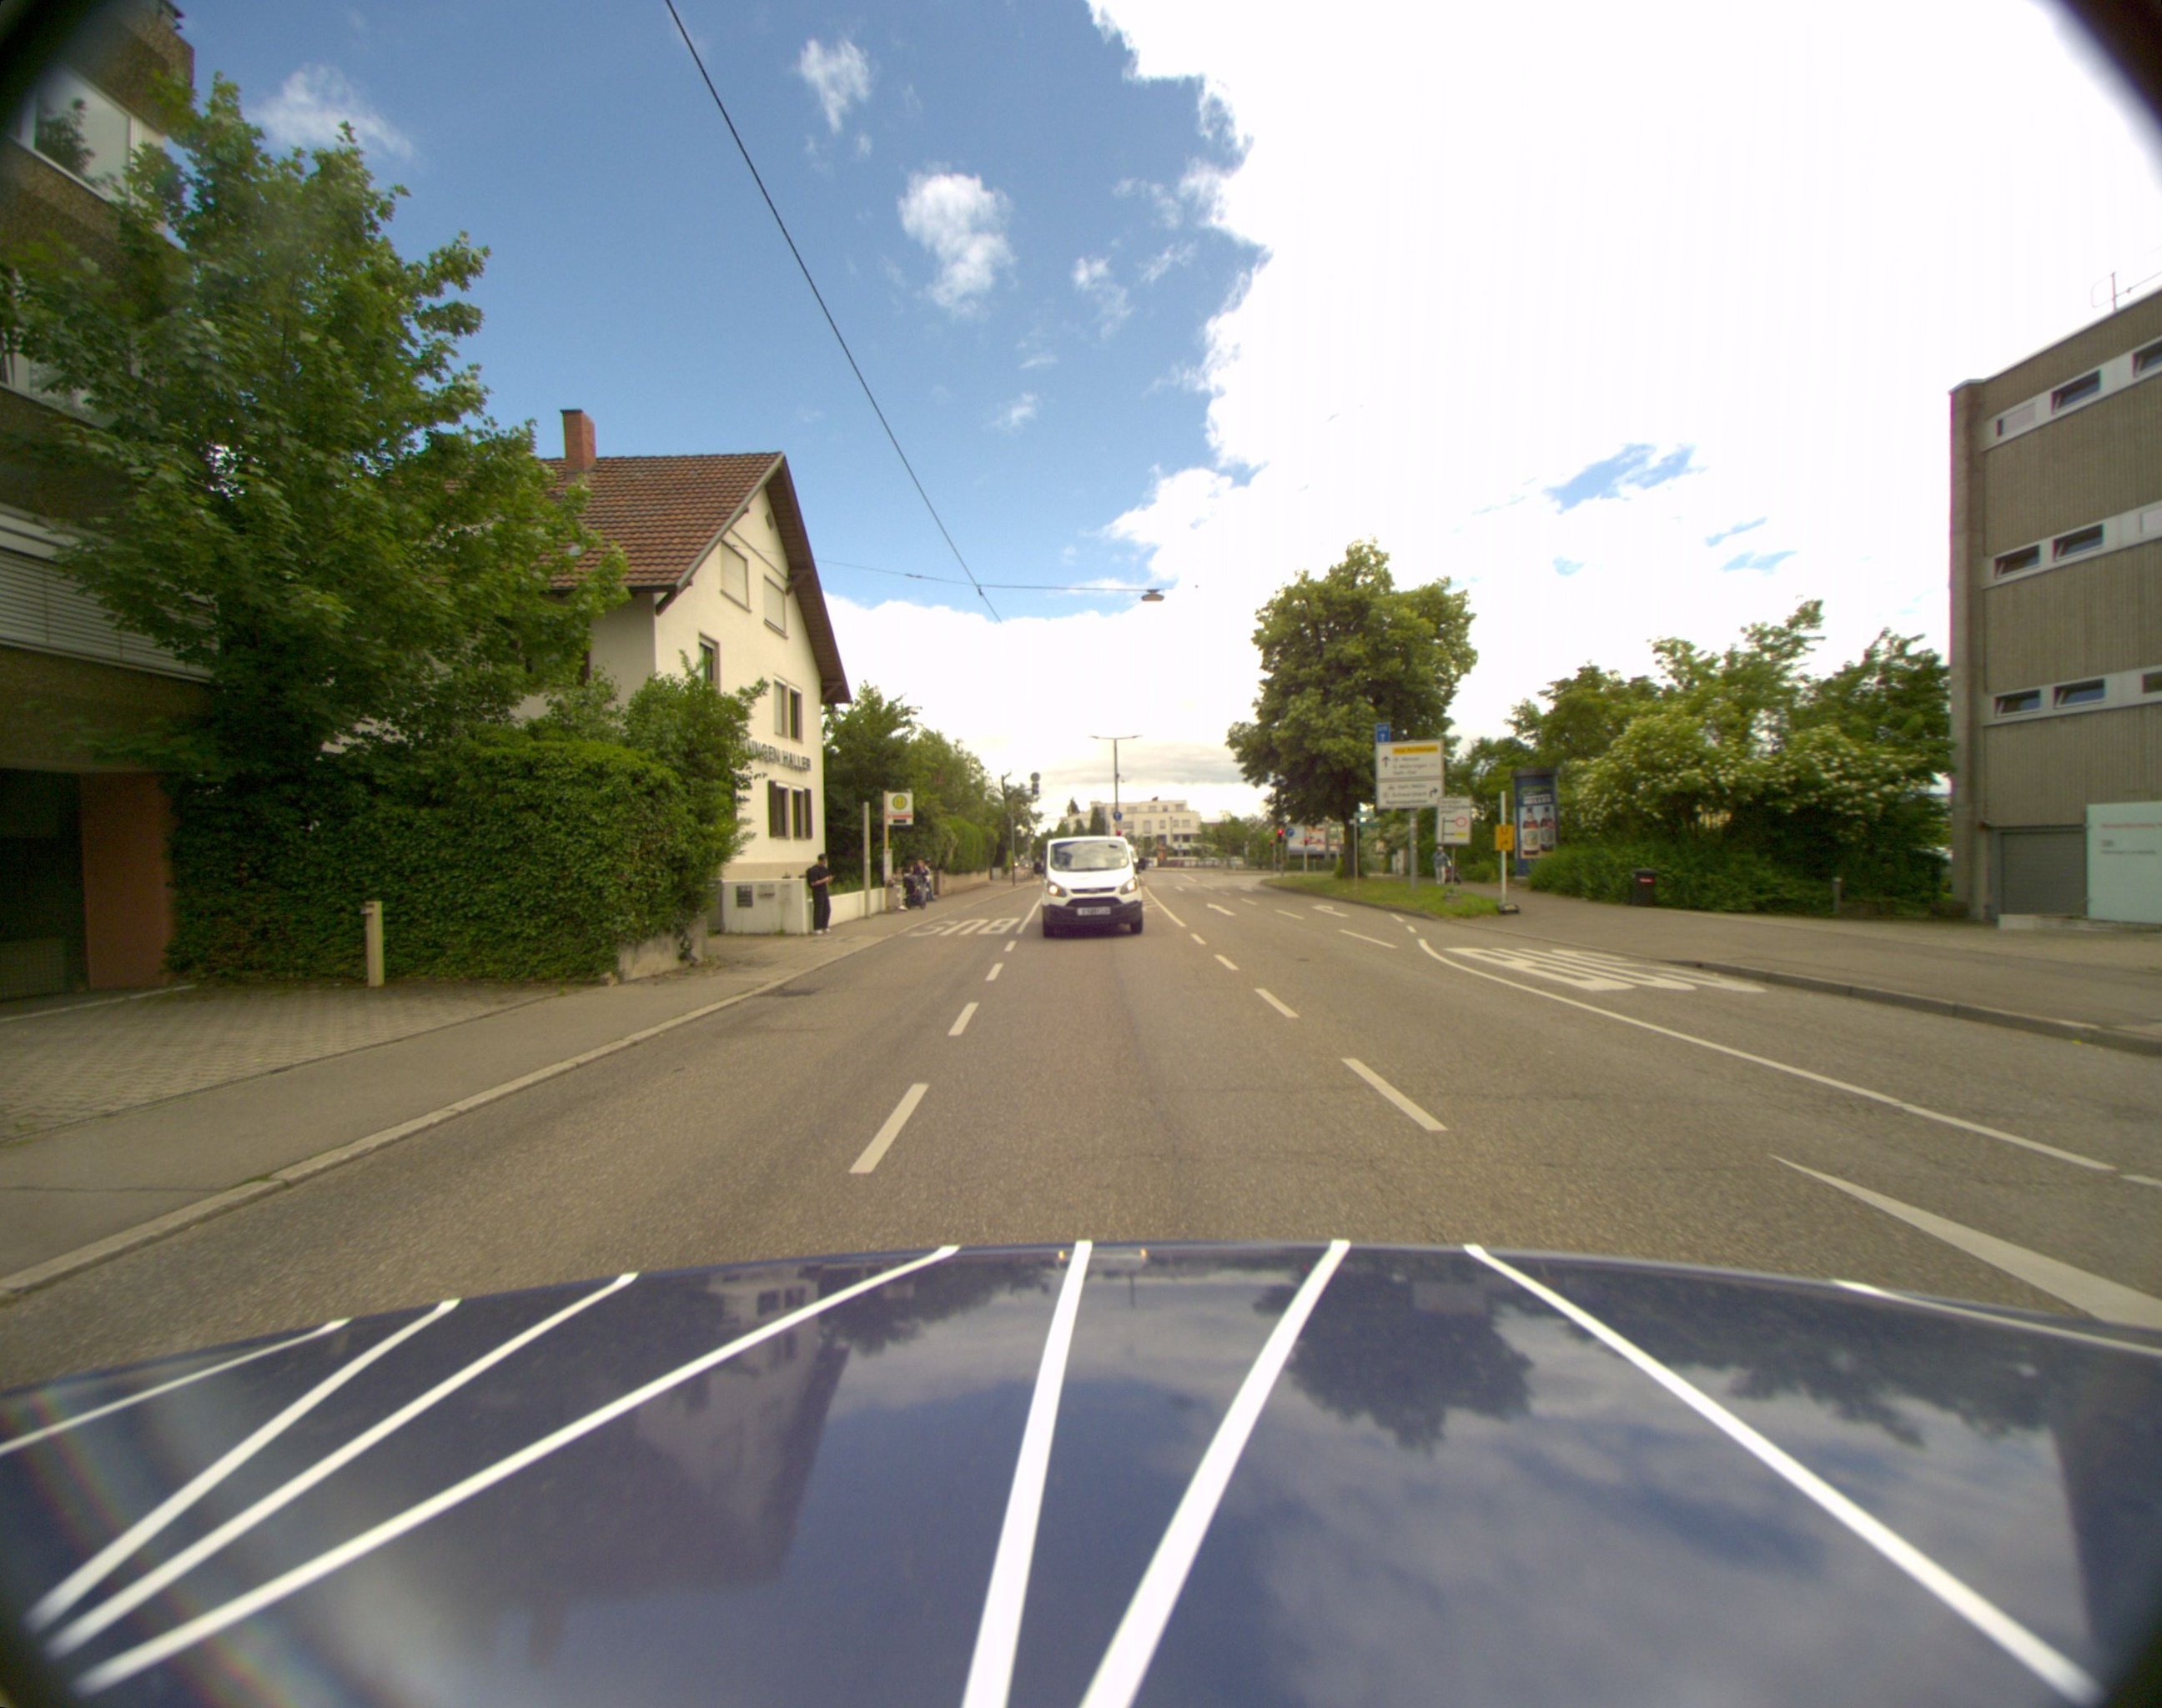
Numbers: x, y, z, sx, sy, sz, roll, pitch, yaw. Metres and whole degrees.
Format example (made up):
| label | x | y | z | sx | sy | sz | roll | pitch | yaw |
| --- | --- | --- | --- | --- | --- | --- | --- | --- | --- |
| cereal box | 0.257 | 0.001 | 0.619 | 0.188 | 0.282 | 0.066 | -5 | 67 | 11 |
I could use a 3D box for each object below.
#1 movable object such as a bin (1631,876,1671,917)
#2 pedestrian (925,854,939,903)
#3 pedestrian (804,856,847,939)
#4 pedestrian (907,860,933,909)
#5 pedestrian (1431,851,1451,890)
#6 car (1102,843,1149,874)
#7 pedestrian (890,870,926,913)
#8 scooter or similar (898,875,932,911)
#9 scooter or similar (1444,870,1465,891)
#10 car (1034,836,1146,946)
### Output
| label | x | y | z | sx | sy | sz | roll | pitch | yaw |
| --- | --- | --- | --- | --- | --- | --- | --- | --- | --- |
| movable object such as a bin | 13.371 | 0.995 | 17.836 | 0.566 | 0.922 | 0.608 | -1 | 1 | 17 |
| pedestrian | -5.393 | 0.884 | 27.498 | 0.344 | 1.745 | 0.496 | 2 | 1 | -4 |
| pedestrian | -5.534 | 0.929 | 16.477 | 0.488 | 1.757 | 0.672 | -1 | 1 | 32 |
| pedestrian | -5.249 | 0.988 | 24.779 | 0.661 | 1.526 | 0.748 | 2 | 1 | 0 |
| pedestrian | 14.780 | 0.680 | 31.194 | 0.672 | 1.549 | 0.520 | -2 | 1 | 18 |
| car | 3.964 | 0.400 | 69.725 | 2.198 | 2.630 | 7.437 | -2 | 1 | -13 |
| pedestrian | -5.224 | 1.133 | 22.998 | 0.916 | 1.244 | 0.789 | 2 | 1 | -5 |
| scooter or similar | -5.220 | 1.212 | 23.930 | 0.478 | 1.091 | 0.860 | 3 | 1 | 43 |
| scooter or similar | 14.894 | 1.066 | 30.293 | 0.607 | 0.782 | 0.860 | -2 | 1 | 18 |
| car | 0.146 | 0.662 | 16.861 | 1.999 | 1.961 | 5.714 | -2 | 0 | 0 |
